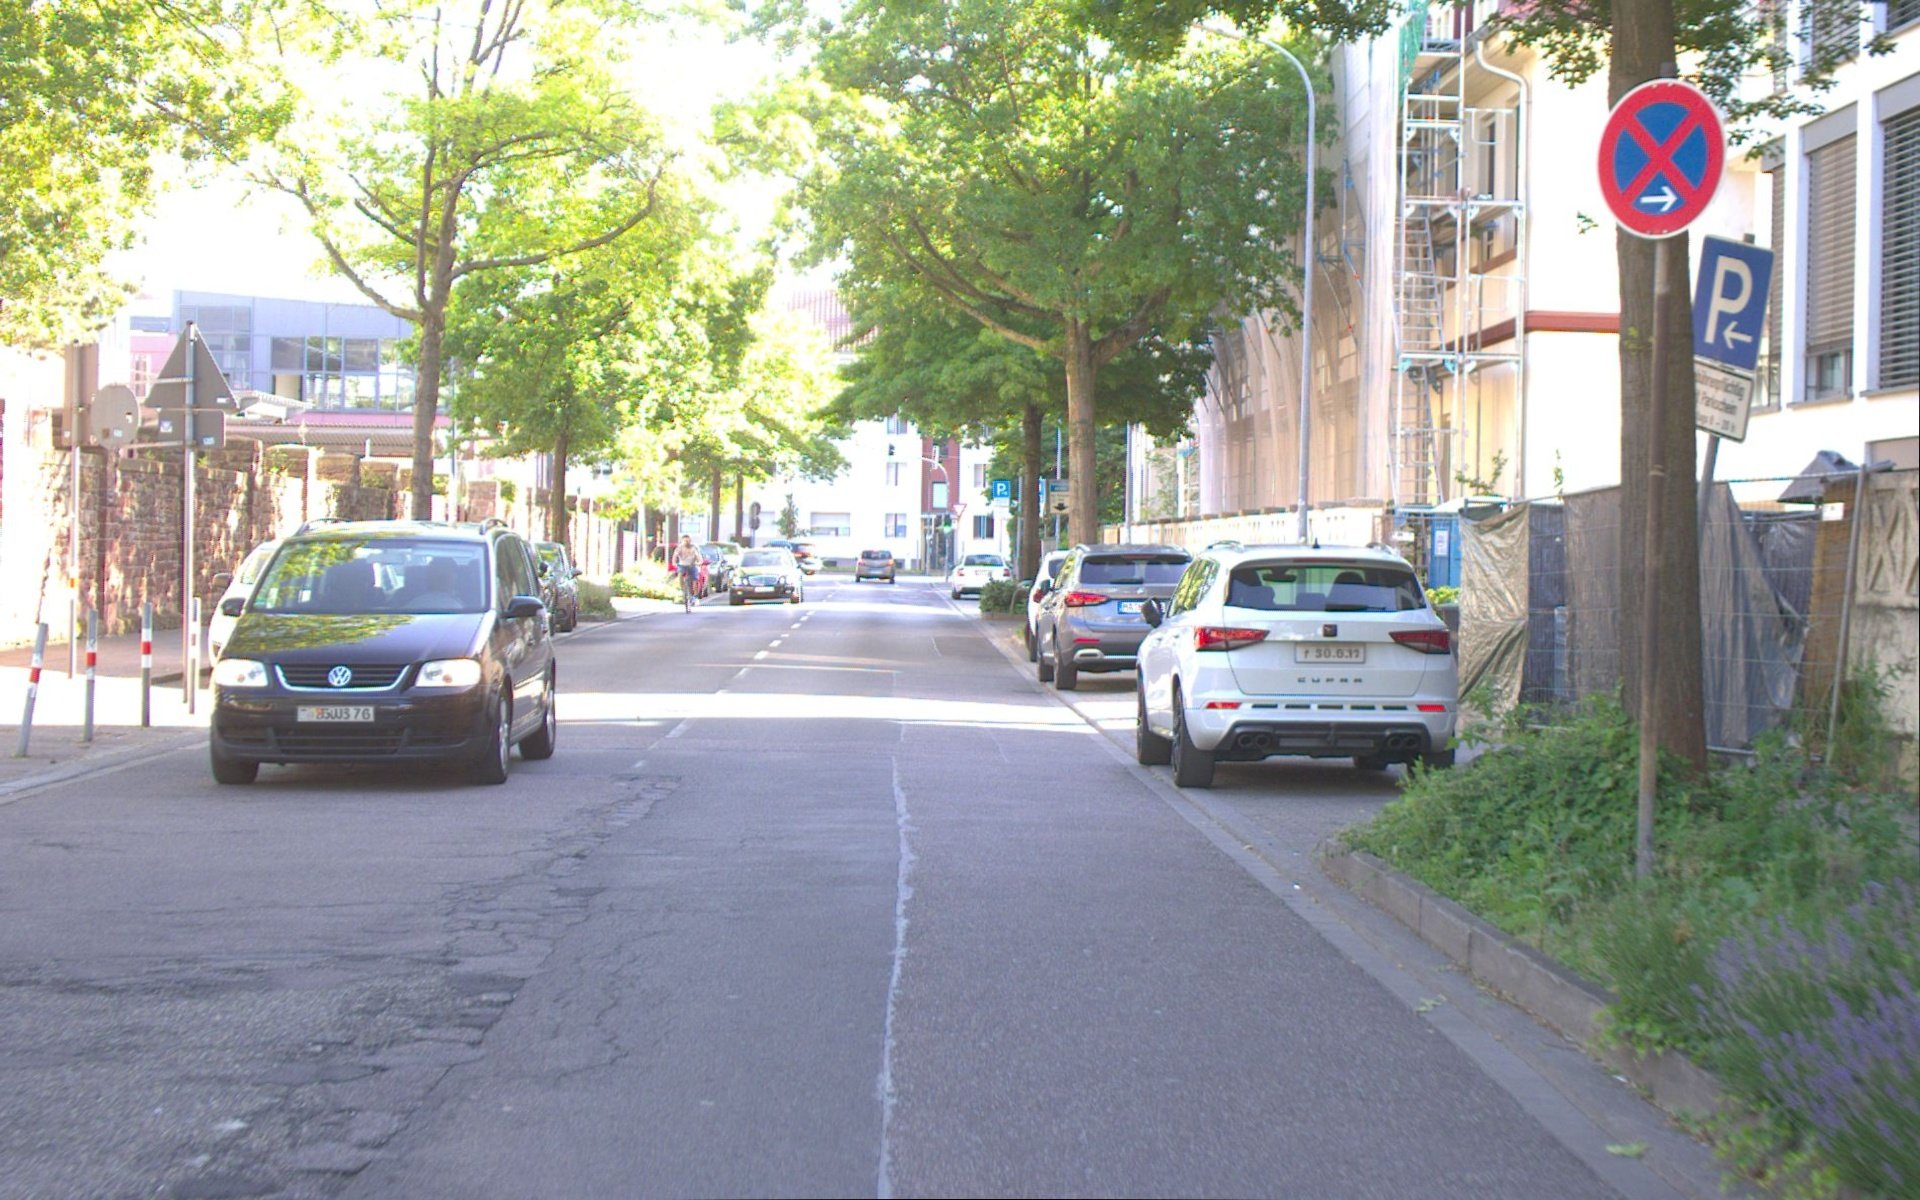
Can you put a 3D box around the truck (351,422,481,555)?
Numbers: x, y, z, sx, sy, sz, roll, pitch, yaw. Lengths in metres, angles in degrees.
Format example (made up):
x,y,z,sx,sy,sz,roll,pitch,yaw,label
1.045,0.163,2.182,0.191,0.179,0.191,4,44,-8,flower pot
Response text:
x,y,z,sx,sy,sz,roll,pitch,yaw,label
-16.183,-3.276,102.720,2.732,3.698,7.429,3,1,-2,truck

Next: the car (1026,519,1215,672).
x,y,z,sx,sy,sz,roll,pitch,yaw,label
1.780,-0.098,39.414,1.712,1.632,4.303,1,1,-3,car

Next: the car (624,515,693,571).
x,y,z,sx,sy,sz,roll,pitch,yaw,label
-8.480,-1.615,96.948,1.609,1.454,3.708,3,1,-1,car

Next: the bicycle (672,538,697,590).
x,y,z,sx,sy,sz,roll,pitch,yaw,label
-6.107,-0.802,76.223,0.357,1.116,1.866,3,1,0,bicycle

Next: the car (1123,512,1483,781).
x,y,z,sx,sy,sz,roll,pitch,yaw,label
2.231,0.239,23.421,1.792,1.610,4.127,2,1,-3,car

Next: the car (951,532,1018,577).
x,y,z,sx,sy,sz,roll,pitch,yaw,label
0.723,-1.404,104.644,1.832,1.318,4.497,0,1,-2,car

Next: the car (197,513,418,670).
x,y,z,sx,sy,sz,roll,pitch,yaw,label
-6.596,-0.126,35.056,1.574,1.397,3.751,4,1,-2,car

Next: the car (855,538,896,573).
x,y,z,sx,sy,sz,roll,pitch,yaw,label
-3.642,-1.936,148.587,1.639,1.438,3.422,3,1,-1,car

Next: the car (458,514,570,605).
x,y,z,sx,sy,sz,roll,pitch,yaw,label
-7.554,-0.710,58.466,1.686,1.417,3.840,3,1,-5,car

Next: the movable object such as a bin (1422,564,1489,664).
x,y,z,sx,sy,sz,roll,pitch,yaw,label
5.271,0.141,36.577,0.598,1.023,0.564,3,1,2,movable object such as a bin

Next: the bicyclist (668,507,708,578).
x,y,z,sx,sy,sz,roll,pitch,yaw,label
-6.036,-1.276,76.285,0.721,1.517,1.005,3,1,2,bicyclist

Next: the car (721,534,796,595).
x,y,z,sx,sy,sz,roll,pitch,yaw,label
-5.222,-0.940,89.409,1.821,1.431,3.970,3,1,-3,car

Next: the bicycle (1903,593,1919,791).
x,y,z,sx,sy,sz,roll,pitch,yaw,label
5.268,0.507,17.510,0.336,1.037,1.831,2,1,-2,bicycle

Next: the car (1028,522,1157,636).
x,y,z,sx,sy,sz,roll,pitch,yaw,label
1.840,-0.324,48.241,1.724,1.505,3.992,0,2,2,car

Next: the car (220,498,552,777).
x,y,z,sx,sy,sz,roll,pitch,yaw,label
-3.579,0.166,22.042,1.643,1.606,4.022,-1,1,-3,car
